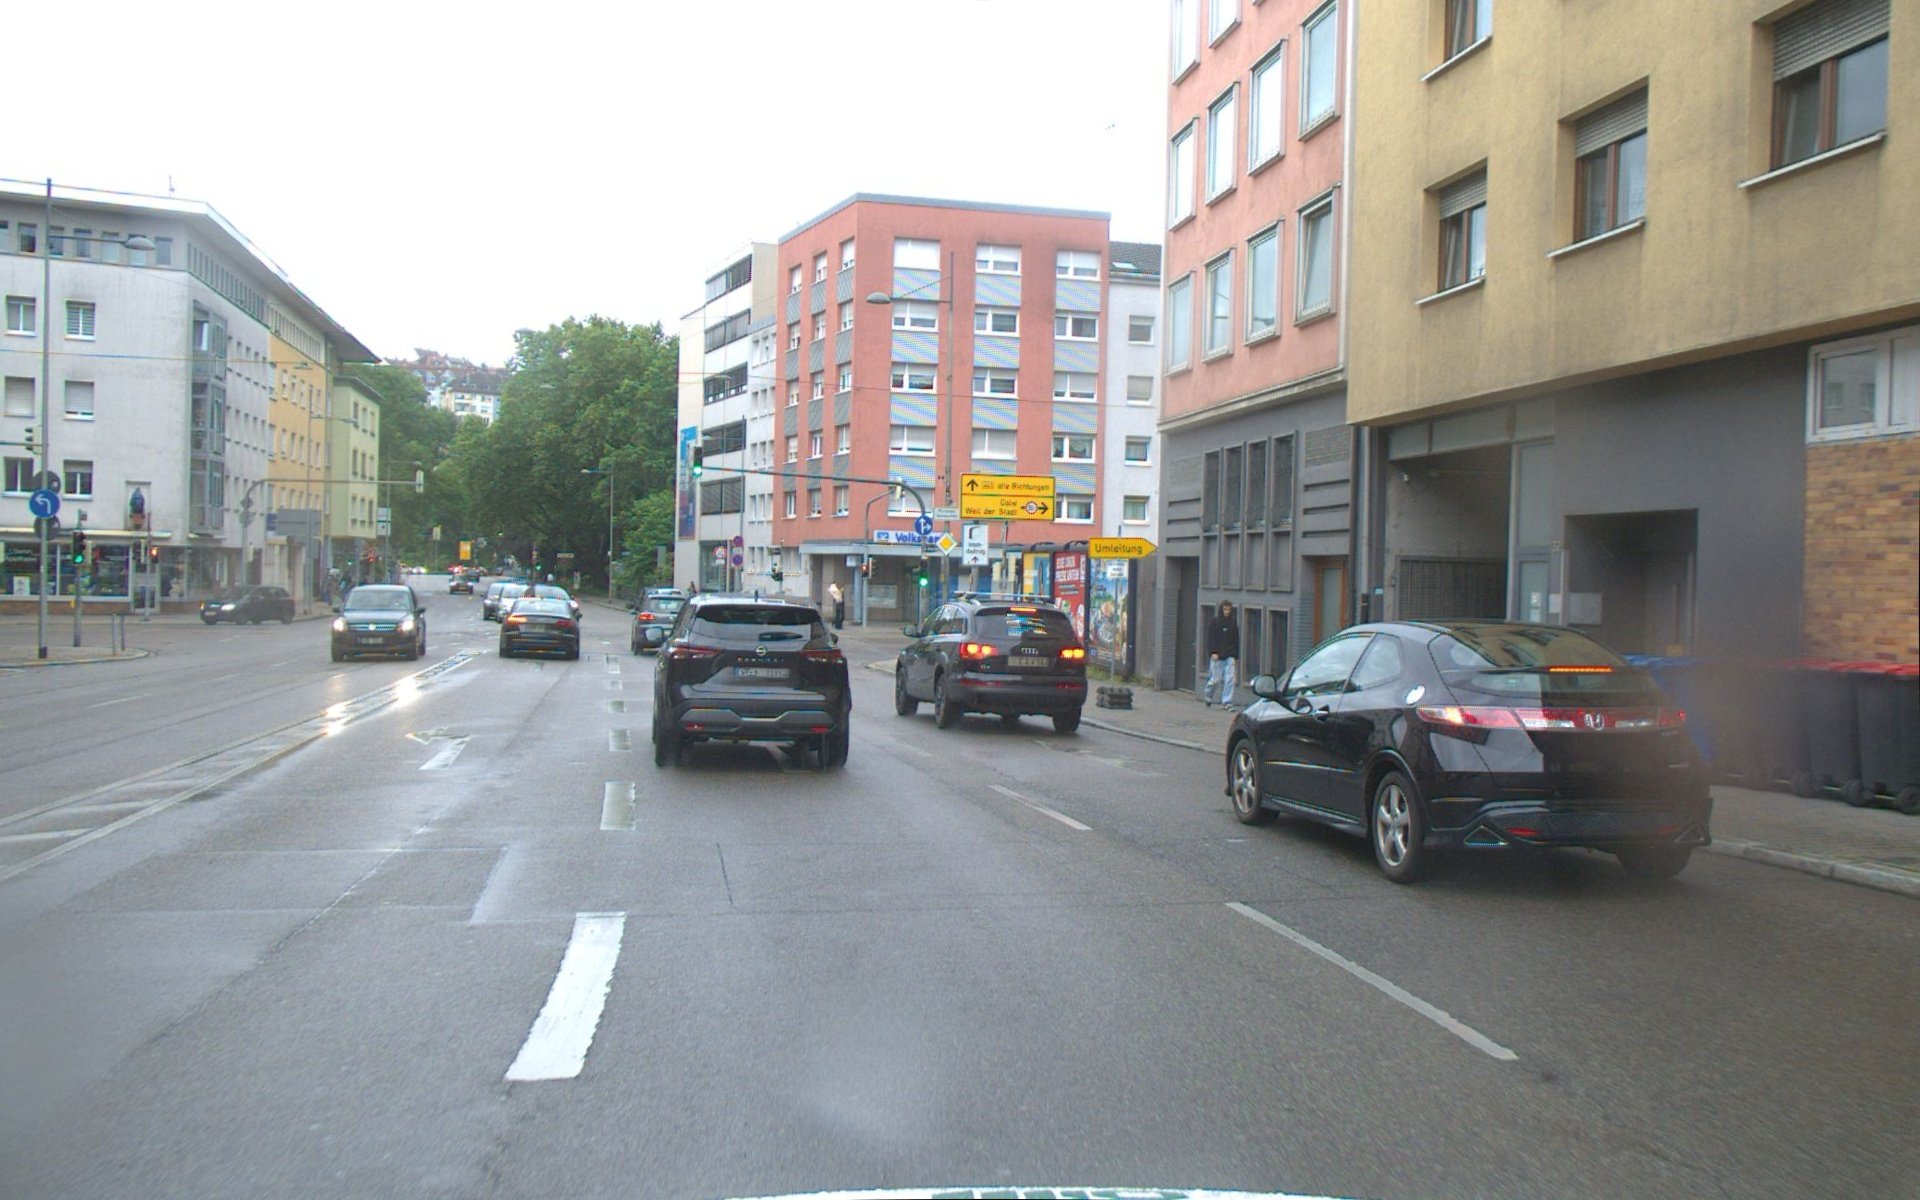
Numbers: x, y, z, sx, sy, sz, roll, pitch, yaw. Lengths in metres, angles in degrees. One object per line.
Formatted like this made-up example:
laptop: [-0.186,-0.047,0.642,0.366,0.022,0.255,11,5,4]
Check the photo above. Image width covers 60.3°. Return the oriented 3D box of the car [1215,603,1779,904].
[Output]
car: [3.109,0.799,10.540,1.751,1.523,4.047,1,0,-10]

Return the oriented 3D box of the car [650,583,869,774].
car: [-2.134,0.722,16.632,1.861,1.657,3.989,2,-1,-11]

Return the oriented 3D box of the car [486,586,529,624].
car: [-20.238,0.216,74.040,1.790,1.636,4.413,0,0,-15]

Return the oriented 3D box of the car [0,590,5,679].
car: [-17.629,0.612,27.167,1.873,1.581,4.619,0,0,-10]

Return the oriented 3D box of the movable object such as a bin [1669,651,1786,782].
movable object such as a bin: [6.753,1.013,14.564,0.669,1.095,0.666,1,0,-12]

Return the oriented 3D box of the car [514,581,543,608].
car: [-31.736,-0.442,121.590,1.792,1.827,3.848,3,0,-17]

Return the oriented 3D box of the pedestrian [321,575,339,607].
pedestrian: [-33.045,-0.473,86.768,0.675,1.609,0.650,3,0,-12]

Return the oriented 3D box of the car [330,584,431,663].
car: [-13.040,0.488,37.400,1.832,1.676,4.236,0,0,-15]

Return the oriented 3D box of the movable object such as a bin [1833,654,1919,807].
movable object such as a bin: [7.155,0.974,12.553,0.669,1.095,0.666,1,0,-12]

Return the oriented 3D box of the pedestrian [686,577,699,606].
pedestrian: [-16.391,-0.517,101.225,0.605,1.767,0.675,-1,1,-27]

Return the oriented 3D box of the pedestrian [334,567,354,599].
pedestrian: [-36.342,-0.998,97.596,0.851,1.819,0.872,4,0,-14]

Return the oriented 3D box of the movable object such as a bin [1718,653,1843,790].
movable object such as a bin: [6.885,1.010,13.897,0.669,1.095,0.666,1,0,-12]

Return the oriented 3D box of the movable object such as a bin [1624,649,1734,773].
movable object such as a bin: [6.615,1.010,15.233,0.669,1.095,0.666,1,0,-12]

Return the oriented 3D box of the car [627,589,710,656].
car: [-8.046,0.564,45.384,1.913,1.714,3.985,-1,1,-15]

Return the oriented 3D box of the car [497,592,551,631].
car: [-18.238,0.463,69.057,1.905,1.553,4.112,1,0,-19]

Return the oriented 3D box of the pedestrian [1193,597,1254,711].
pedestrian: [4.332,0.873,27.256,0.660,1.819,1.093,2,0,-9]

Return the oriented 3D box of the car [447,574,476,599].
car: [-41.007,-1.111,136.215,1.960,1.892,3.986,3,0,-14]

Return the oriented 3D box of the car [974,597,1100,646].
car: [2.705,0.760,58.222,3.943,1.512,1.981,3,0,-29]

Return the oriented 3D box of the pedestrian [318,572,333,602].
pedestrian: [-36.831,-0.747,96.015,0.786,1.718,0.812,1,0,-20]

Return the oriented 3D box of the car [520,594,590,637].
car: [-15.772,0.577,64.258,1.833,1.580,4.192,1,0,-25]

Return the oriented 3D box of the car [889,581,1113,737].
car: [0.440,0.756,23.414,1.986,1.902,4.884,3,0,-13]

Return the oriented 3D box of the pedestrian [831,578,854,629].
pedestrian: [-5.176,0.165,72.831,0.811,2.196,0.767,3,0,-14]

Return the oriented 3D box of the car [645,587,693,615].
car: [-16.292,0.042,92.483,1.749,1.425,4.550,-1,1,-22]

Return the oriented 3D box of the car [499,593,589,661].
car: [-10.246,0.624,40.569,1.961,1.412,4.481,3,0,-16]

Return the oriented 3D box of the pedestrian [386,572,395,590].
pedestrian: [-56.938,-1.906,165.380,0.658,1.822,0.715,3,0,-26]

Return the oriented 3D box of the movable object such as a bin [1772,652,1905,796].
movable object such as a bin: [7.015,0.978,13.224,0.669,1.095,0.666,1,0,-12]

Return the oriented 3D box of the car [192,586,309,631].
car: [-26.823,0.304,62.657,1.658,1.655,3.998,0,0,24]

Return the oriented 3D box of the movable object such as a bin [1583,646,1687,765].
movable object such as a bin: [6.488,1.002,15.921,0.669,1.095,0.666,1,0,-12]

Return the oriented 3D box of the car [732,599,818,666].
car: [-5.535,0.930,49.076,1.914,1.848,3.983,-1,1,-15]

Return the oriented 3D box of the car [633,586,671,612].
car: [-18.361,-0.089,98.609,1.688,1.467,4.060,-1,1,-18]
